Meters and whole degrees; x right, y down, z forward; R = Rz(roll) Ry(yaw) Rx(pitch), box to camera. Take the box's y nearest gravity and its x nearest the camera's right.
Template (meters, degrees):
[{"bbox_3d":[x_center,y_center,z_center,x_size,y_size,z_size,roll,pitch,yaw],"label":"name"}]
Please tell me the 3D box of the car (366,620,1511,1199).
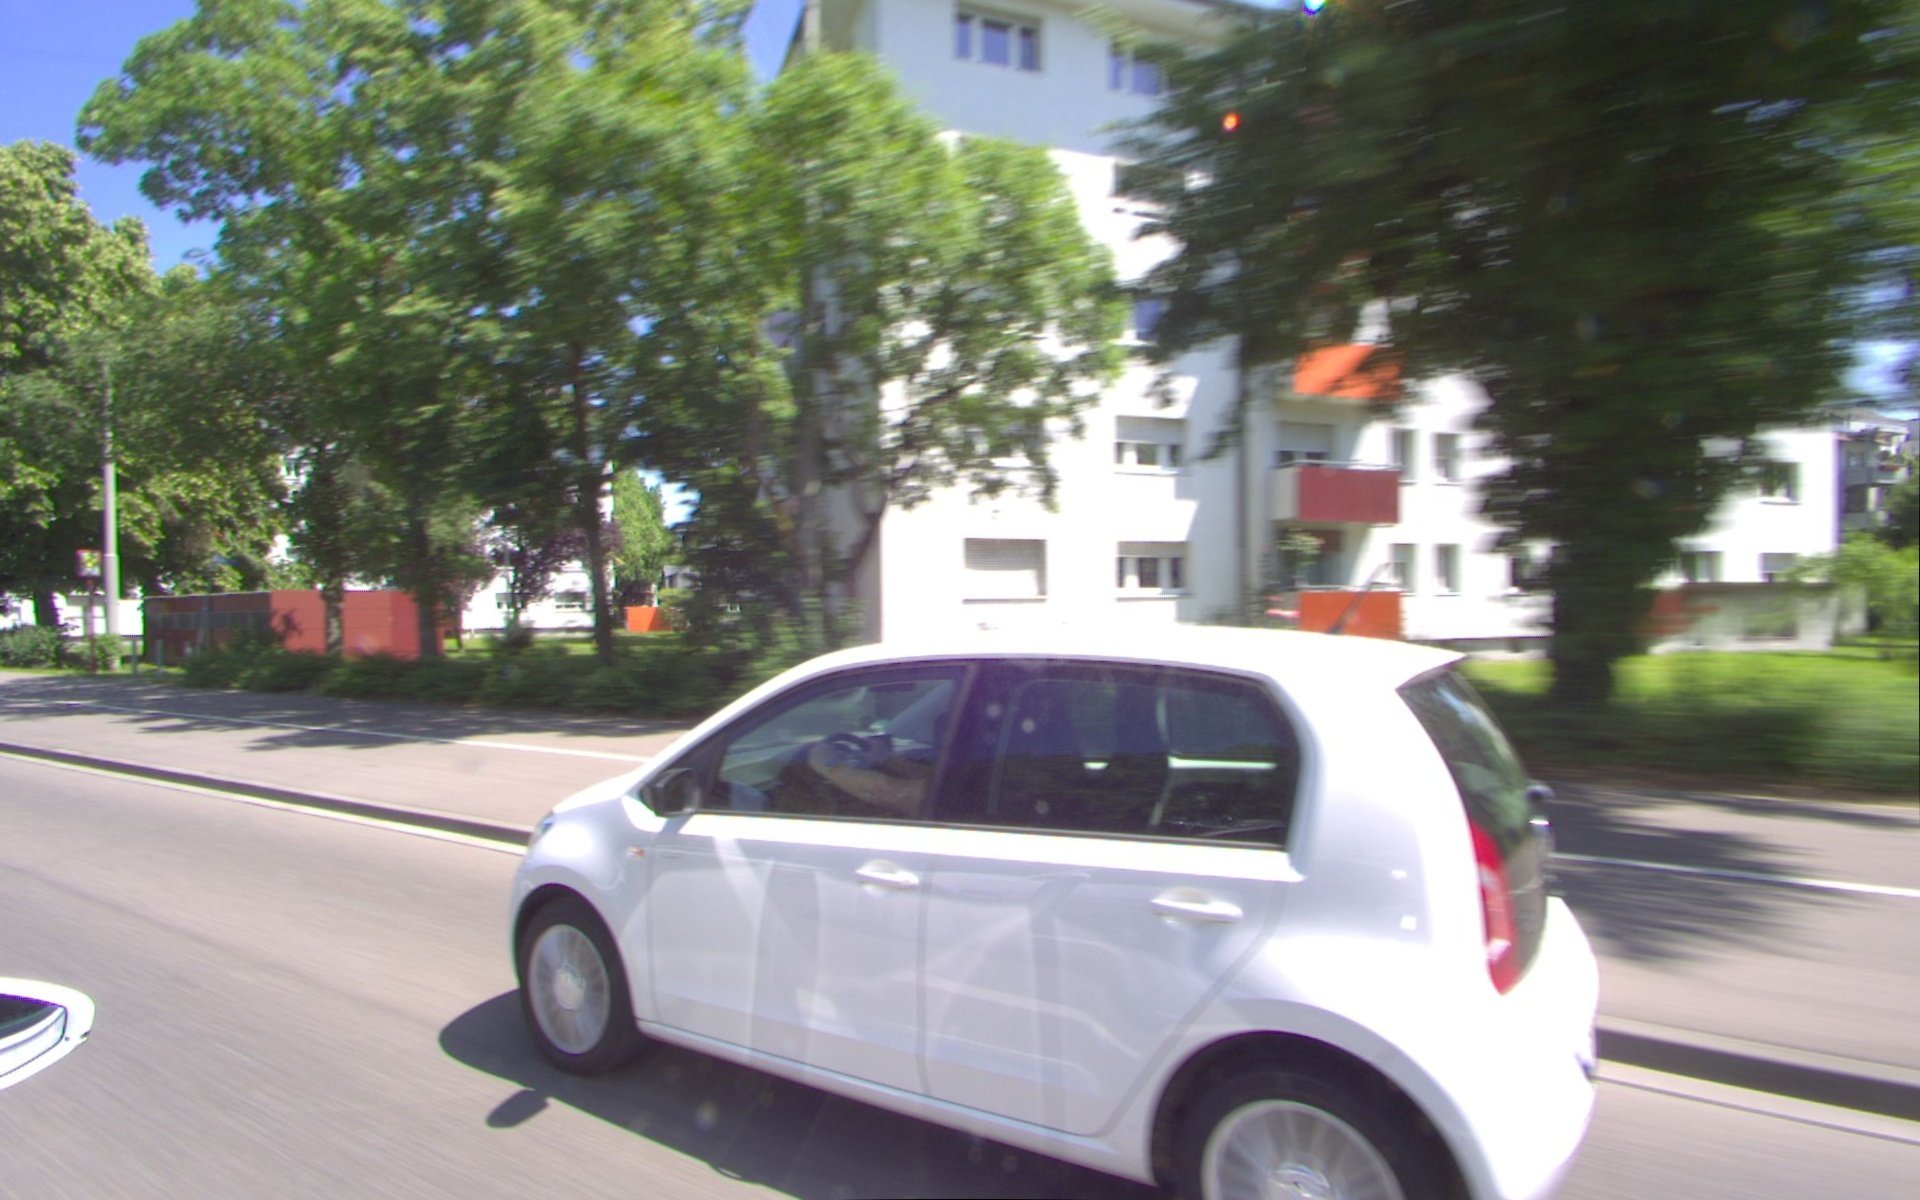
[{"bbox_3d":[-0.242,0.817,3.560,3.799,1.468,1.656,-1,-1,32],"label":"car"}]
